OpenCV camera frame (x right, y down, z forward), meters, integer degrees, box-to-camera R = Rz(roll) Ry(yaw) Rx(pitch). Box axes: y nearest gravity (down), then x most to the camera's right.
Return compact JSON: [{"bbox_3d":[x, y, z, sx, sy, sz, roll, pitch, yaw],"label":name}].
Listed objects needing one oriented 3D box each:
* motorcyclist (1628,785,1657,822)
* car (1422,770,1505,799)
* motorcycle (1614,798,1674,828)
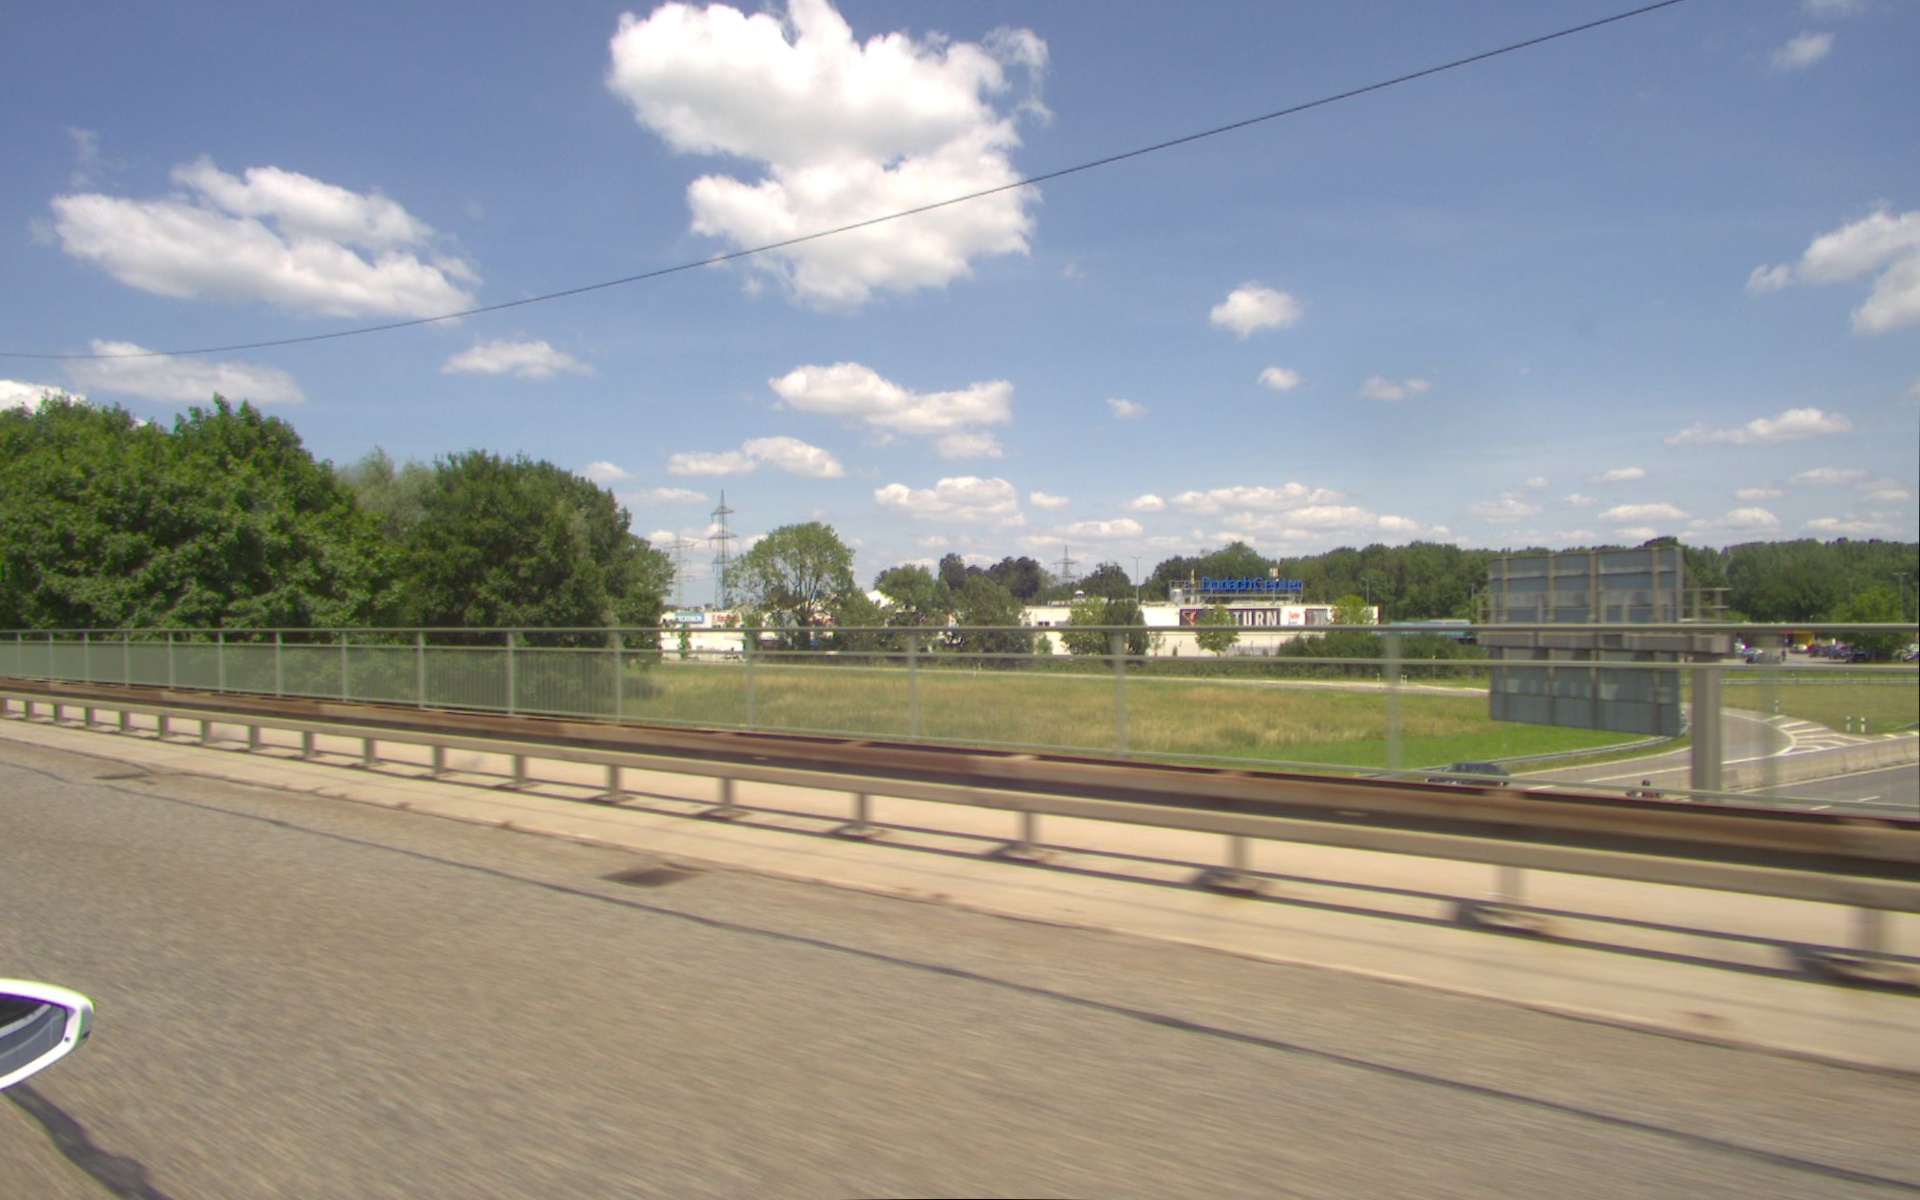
[{"bbox_3d":[26.792,7.977,39.308,0.898,1.360,0.601,5,-5,-26],"label":"motorcyclist"},{"bbox_3d":[23.918,8.741,47.558,3.860,1.185,1.661,5,-6,-28],"label":"car"},{"bbox_3d":[26.932,8.377,39.429,2.437,1.001,0.855,5,-5,-26],"label":"motorcycle"}]
